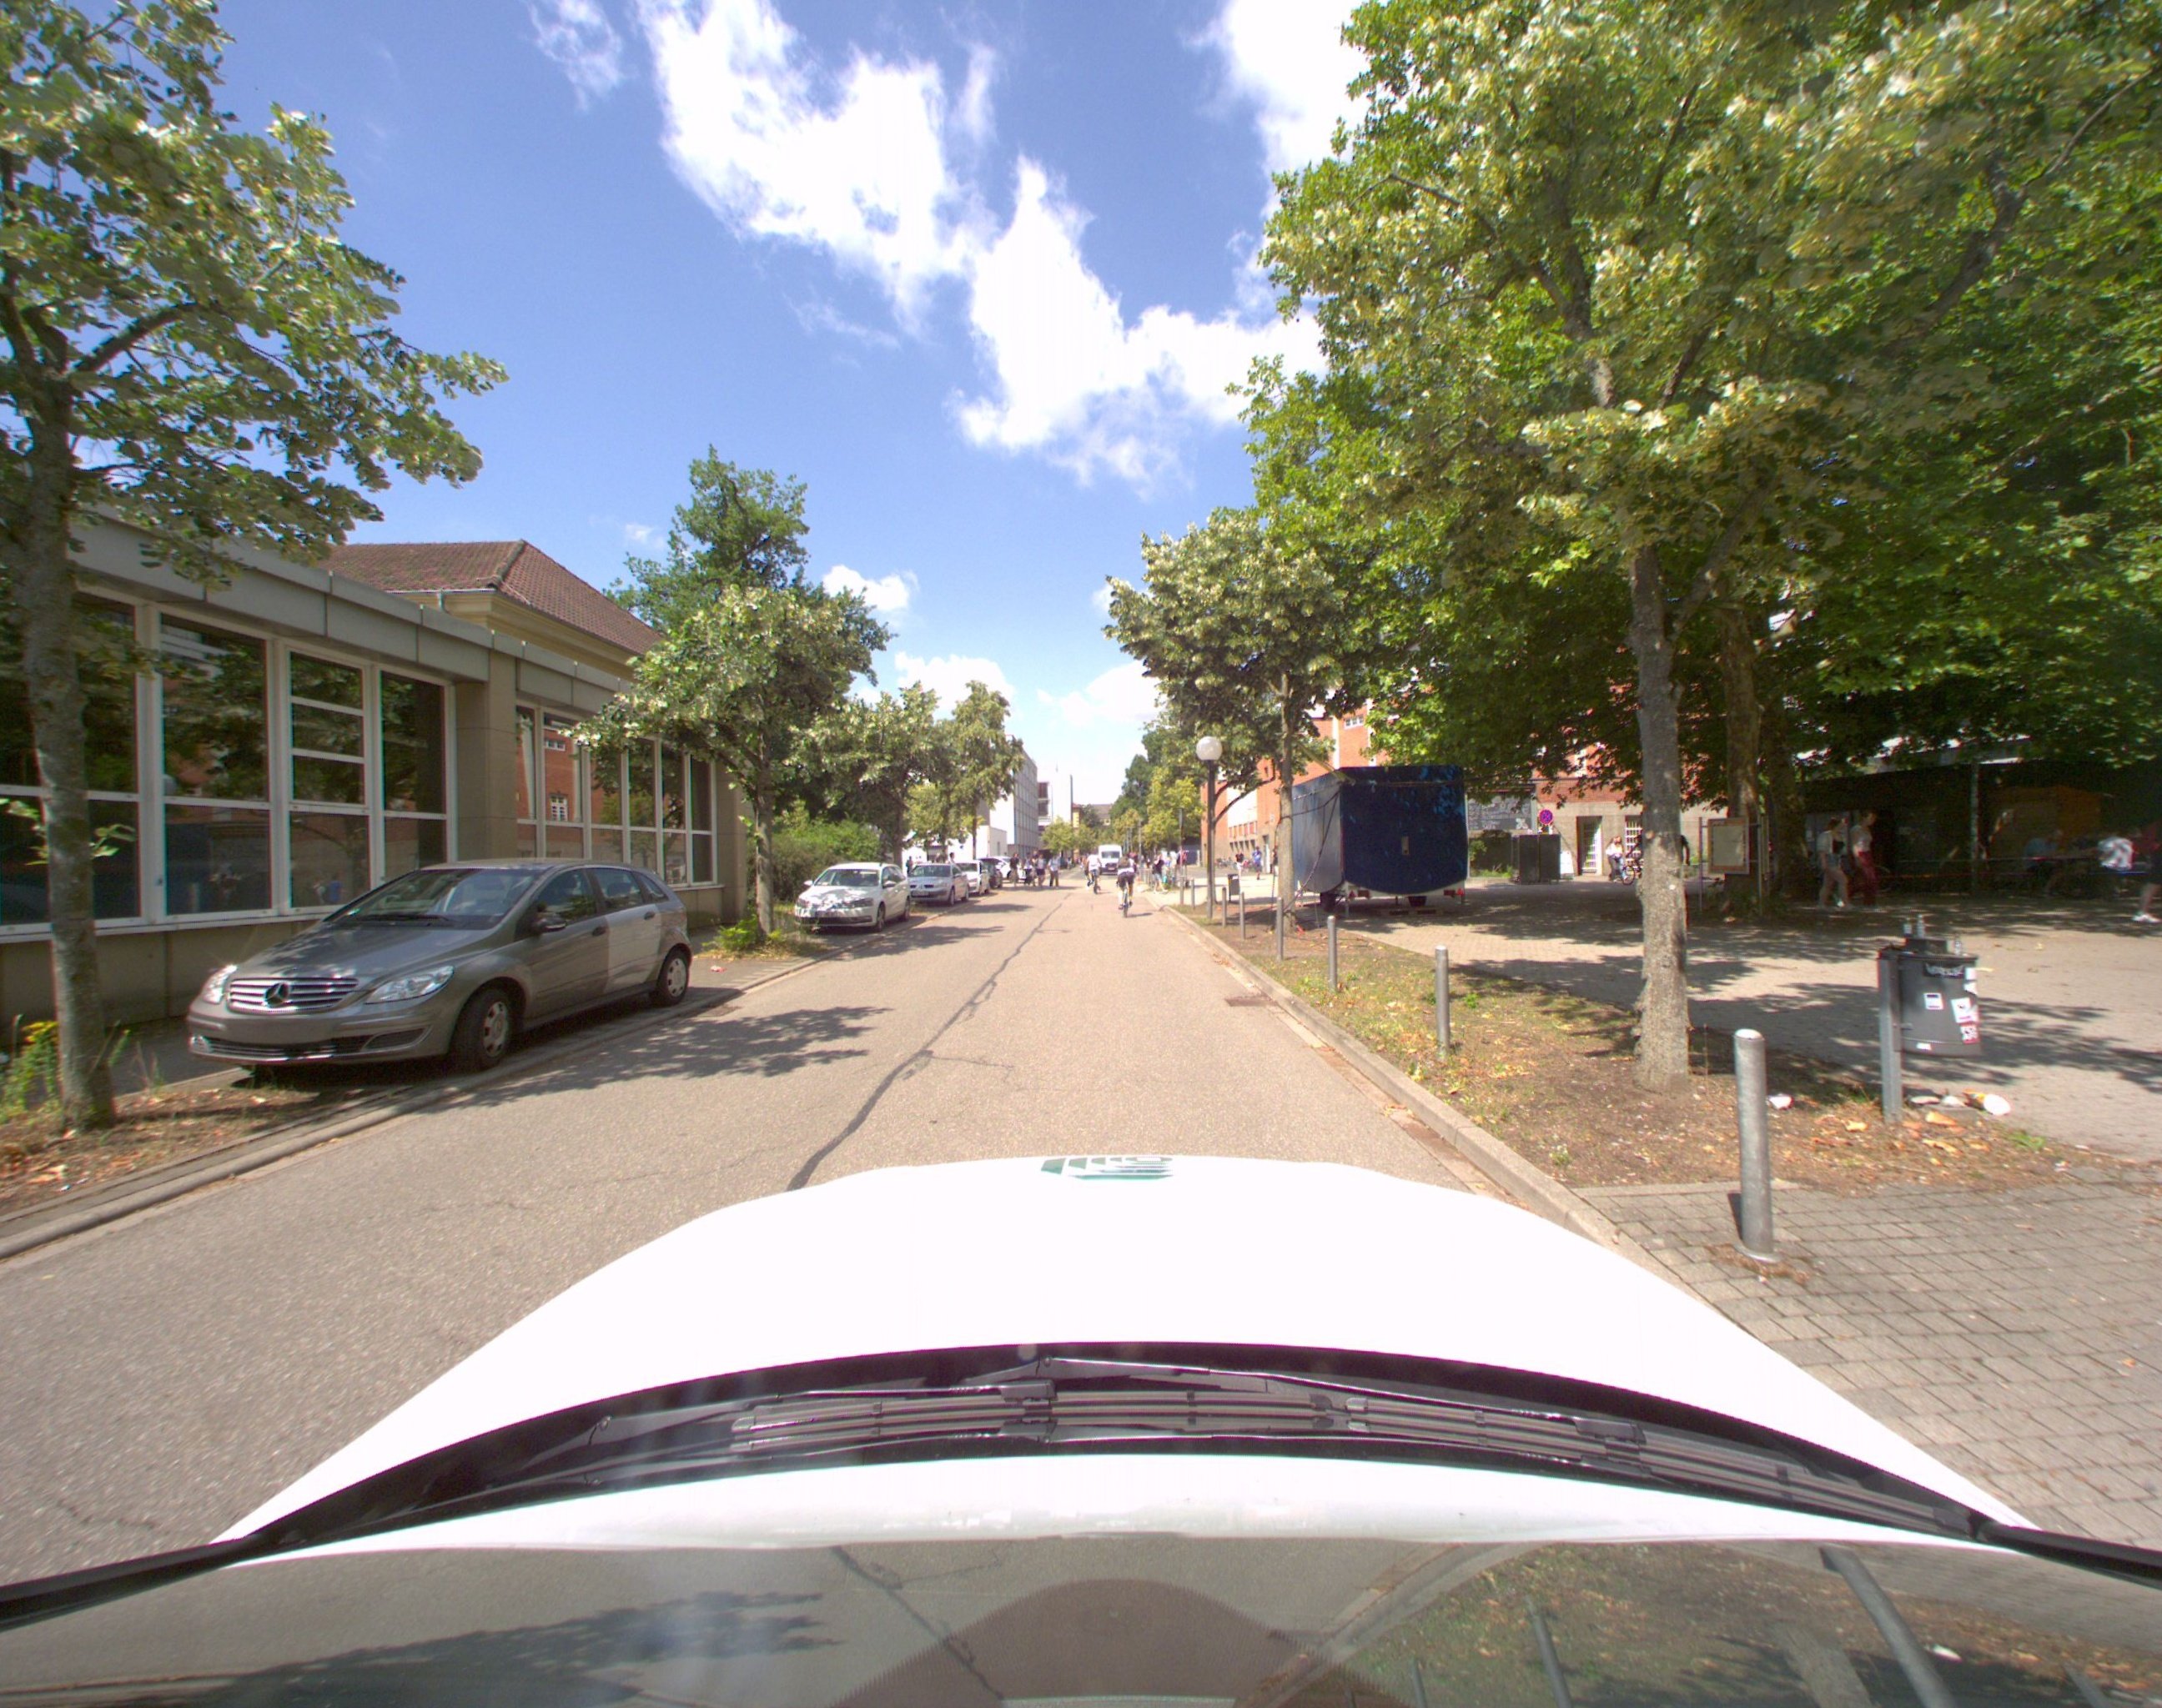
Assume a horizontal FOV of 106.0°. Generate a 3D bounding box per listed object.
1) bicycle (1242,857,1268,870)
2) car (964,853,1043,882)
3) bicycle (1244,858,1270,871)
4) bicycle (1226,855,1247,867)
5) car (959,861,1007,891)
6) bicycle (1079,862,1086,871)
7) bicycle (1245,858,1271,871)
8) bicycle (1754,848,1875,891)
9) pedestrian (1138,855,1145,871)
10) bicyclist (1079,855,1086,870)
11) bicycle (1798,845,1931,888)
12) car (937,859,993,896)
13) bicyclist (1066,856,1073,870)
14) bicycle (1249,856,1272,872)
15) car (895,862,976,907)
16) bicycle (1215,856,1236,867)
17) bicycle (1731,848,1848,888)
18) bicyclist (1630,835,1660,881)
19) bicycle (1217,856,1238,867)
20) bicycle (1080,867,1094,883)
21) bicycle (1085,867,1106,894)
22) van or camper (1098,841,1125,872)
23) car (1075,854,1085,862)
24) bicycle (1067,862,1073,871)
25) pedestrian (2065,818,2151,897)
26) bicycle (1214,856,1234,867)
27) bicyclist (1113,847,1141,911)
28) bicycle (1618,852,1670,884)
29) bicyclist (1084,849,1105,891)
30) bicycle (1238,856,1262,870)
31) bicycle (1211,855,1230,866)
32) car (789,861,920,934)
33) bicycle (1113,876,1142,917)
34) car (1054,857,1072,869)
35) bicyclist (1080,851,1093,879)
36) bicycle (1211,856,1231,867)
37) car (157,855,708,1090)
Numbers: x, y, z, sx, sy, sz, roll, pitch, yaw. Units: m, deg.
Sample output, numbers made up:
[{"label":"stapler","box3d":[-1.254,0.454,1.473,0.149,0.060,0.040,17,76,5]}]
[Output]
[{"label":"bicycle","box3d":[13.545,0.754,63.393,1.803,0.912,0.560,-3,0,0]},{"label":"car","box3d":[-4.645,0.775,48.604,4.462,1.619,1.936,1,-1,34]},{"label":"bicycle","box3d":[13.368,0.772,61.988,1.803,0.912,0.560,-3,0,0]},{"label":"bicycle","box3d":[14.074,0.665,73.680,1.803,0.985,0.560,-3,0,0]},{"label":"car","box3d":[-4.718,1.030,39.560,1.638,1.300,3.930,-2,0,3]},{"label":"bicycle","box3d":[0.189,1.486,93.914,0.674,0.965,2.003,-3,-1,1]},{"label":"bicycle","box3d":[13.263,0.779,60.970,1.803,0.912,0.560,-3,0,0]},{"label":"bicycle","box3d":[19.805,0.414,22.032,2.382,1.072,0.785,-2,-1,8]},{"label":"pedestrian","box3d":[7.134,1.102,96.569,0.787,1.860,1.026,-2,0,3]},{"label":"bicyclist","box3d":[0.186,0.981,93.902,0.665,1.681,0.993,-2,0,0]},{"label":"bicycle","box3d":[20.030,0.325,20.872,2.379,1.072,0.786,0,-1,13]},{"label":"car","box3d":[-4.672,0.914,33.330,1.656,1.412,3.808,0,0,1]},{"label":"bicyclist","box3d":[-1.316,1.025,93.000,0.641,1.601,0.909,-2,0,0]},{"label":"bicycle","box3d":[13.019,0.720,59.204,1.529,1.033,0.560,-2,0,0]},{"label":"car","box3d":[-4.777,0.974,27.279,1.718,1.344,4.169,0,0,3]},{"label":"bicycle","box3d":[13.650,0.707,77.053,1.803,0.985,0.560,-3,0,0]},{"label":"bicycle","box3d":[19.910,0.397,22.944,2.379,1.072,0.786,-2,-1,14]},{"label":"bicyclist","box3d":[20.028,0.144,28.919,0.660,1.607,0.616,-1,-1,-27]},{"label":"bicycle","box3d":[13.715,0.690,76.223,1.803,0.985,0.560,-3,0,0]},{"label":"bicycle","box3d":[0.375,1.344,52.501,0.805,1.002,2.125,-1,-1,2]},{"label":"bicycle","box3d":[0.621,1.148,35.334,0.805,1.002,2.124,-3,1,1]},{"label":"van or camper","box3d":[2.606,0.251,68.028,1.984,2.446,4.575,-2,-1,4]},{"label":"car","box3d":[-0.228,0.872,171.614,1.786,1.530,4.006,-2,0,6]},{"label":"bicycle","box3d":[-1.292,1.441,93.043,0.675,0.965,2.002,-2,0,0]},{"label":"pedestrian","box3d":[18.571,0.057,14.739,0.568,1.346,0.728,-4,0,-3]},{"label":"bicycle","box3d":[13.650,0.694,77.759,1.803,0.985,0.560,-3,0,0]},{"label":"bicyclist","box3d":[1.214,0.645,21.726,0.714,1.662,1.096,0,-1,2]},{"label":"bicycle","box3d":[19.999,0.489,28.899,2.031,1.080,0.616,-1,0,-27]},{"label":"bicyclist","box3d":[0.583,0.695,35.223,0.768,1.756,0.848,-3,-1,0]},{"label":"bicycle","box3d":[13.511,0.716,65.156,1.803,0.985,0.560,-3,0,0]},{"label":"bicycle","box3d":[13.882,0.686,81.057,1.803,0.985,0.560,-3,0,0]},{"label":"car","box3d":[-5.037,0.893,18.765,1.720,1.456,4.582,0,0,0]},{"label":"bicycle","box3d":[1.231,1.108,21.624,0.703,0.993,1.912,0,-1,3]},{"label":"car","box3d":[-2.353,1.154,104.947,1.786,1.530,4.006,-2,0,6]},{"label":"bicyclist","box3d":[0.348,0.719,52.281,0.805,1.756,0.693,-1,-1,2]},{"label":"bicycle","box3d":[13.784,0.688,80.095,1.803,0.985,0.560,-3,0,0]},{"label":"car","box3d":[-5.260,0.809,7.493,1.752,1.556,4.112,0,0,0]}]
